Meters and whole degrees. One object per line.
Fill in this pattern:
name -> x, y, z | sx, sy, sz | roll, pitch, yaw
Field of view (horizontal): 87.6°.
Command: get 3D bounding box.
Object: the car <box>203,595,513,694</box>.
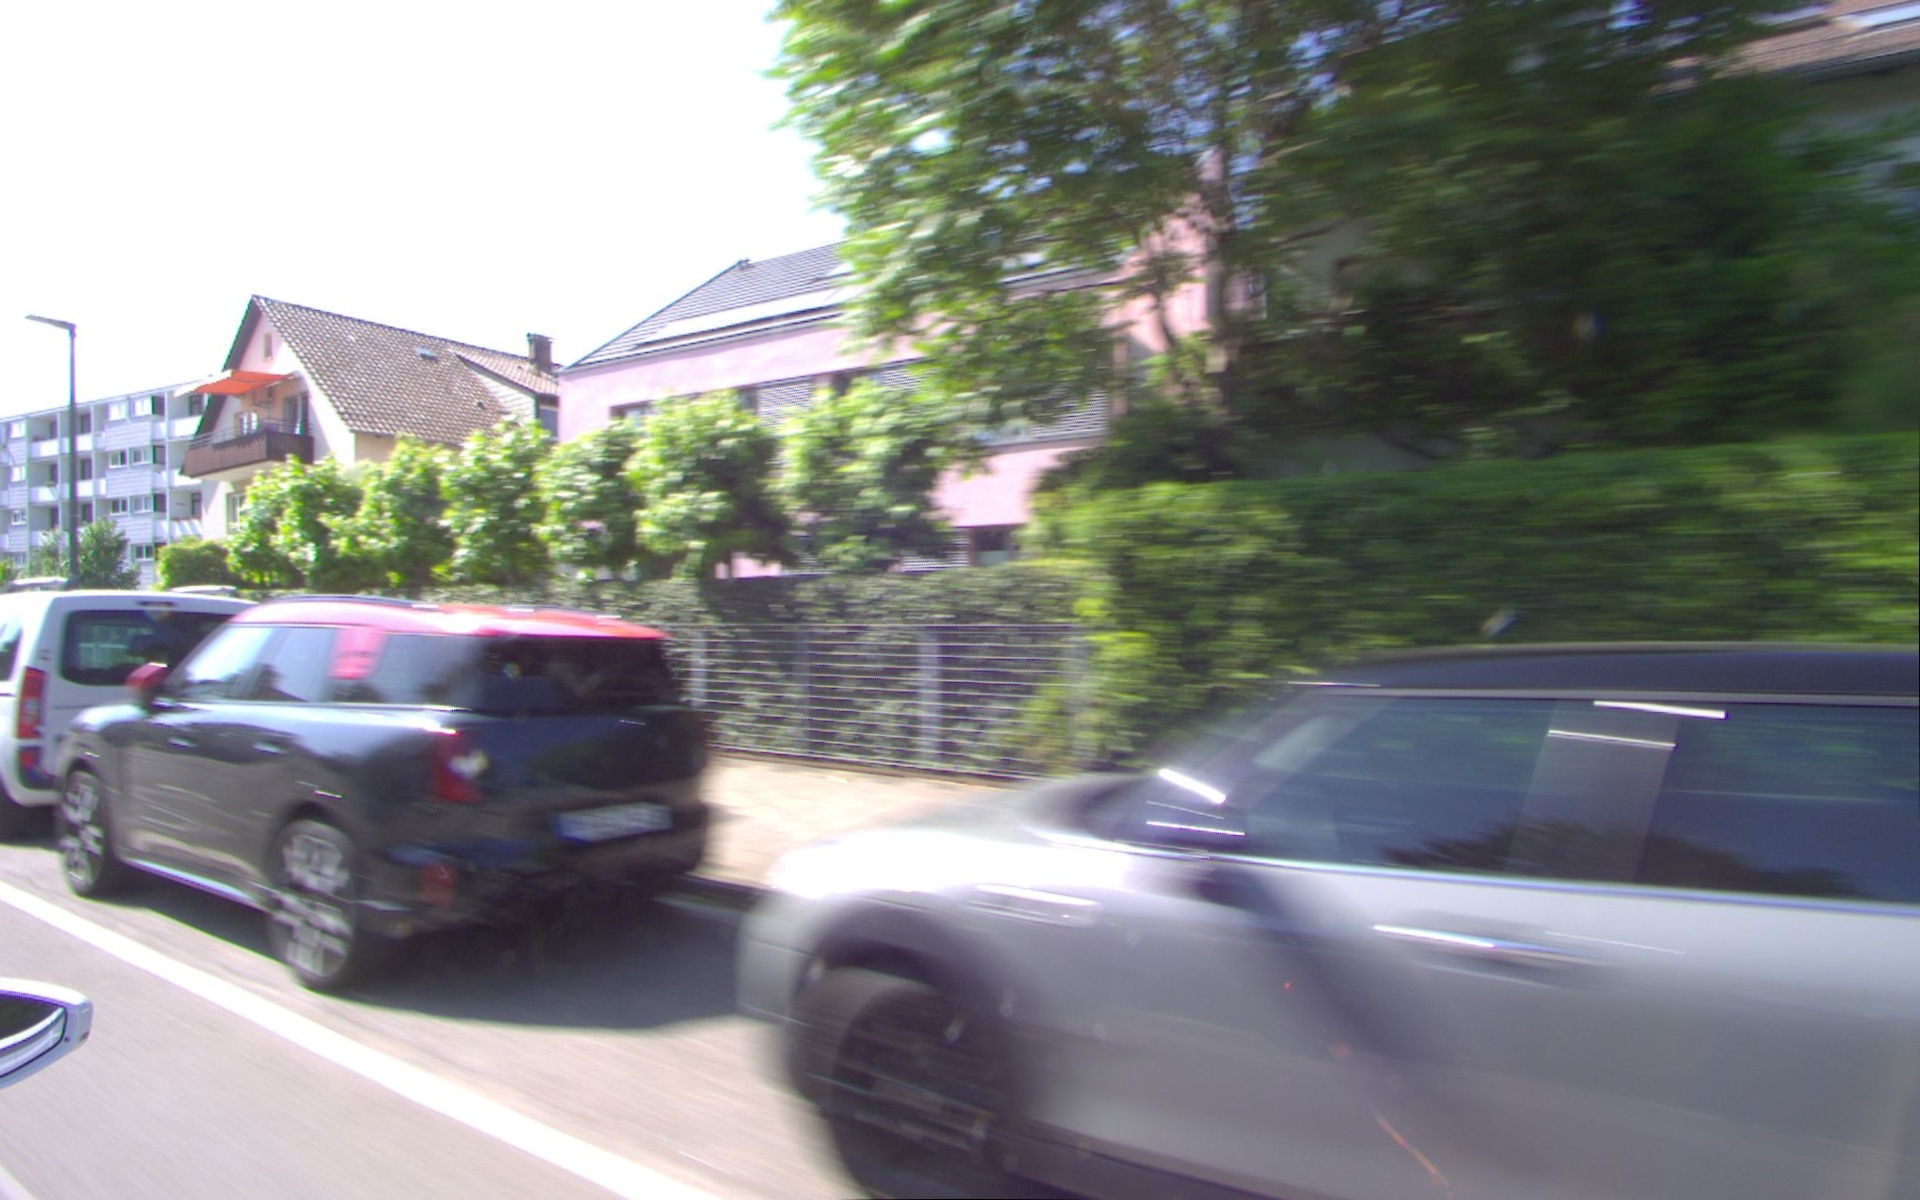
car -> -11.937, 0.838, 20.275 | 1.950, 1.728, 5.077 | 0, -1, 32

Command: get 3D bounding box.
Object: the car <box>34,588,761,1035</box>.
car -> -3.260, 0.773, 5.522 | 4.252, 1.614, 1.758 | 0, 0, 33

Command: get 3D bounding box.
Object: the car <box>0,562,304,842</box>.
car -> -7.719, 0.766, 8.640 | 4.534, 1.849, 1.759 | -1, -3, 33

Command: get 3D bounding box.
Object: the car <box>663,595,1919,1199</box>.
car -> 1.329, 0.721, 2.627 | 4.006, 1.463, 1.760 | 0, 1, 29
